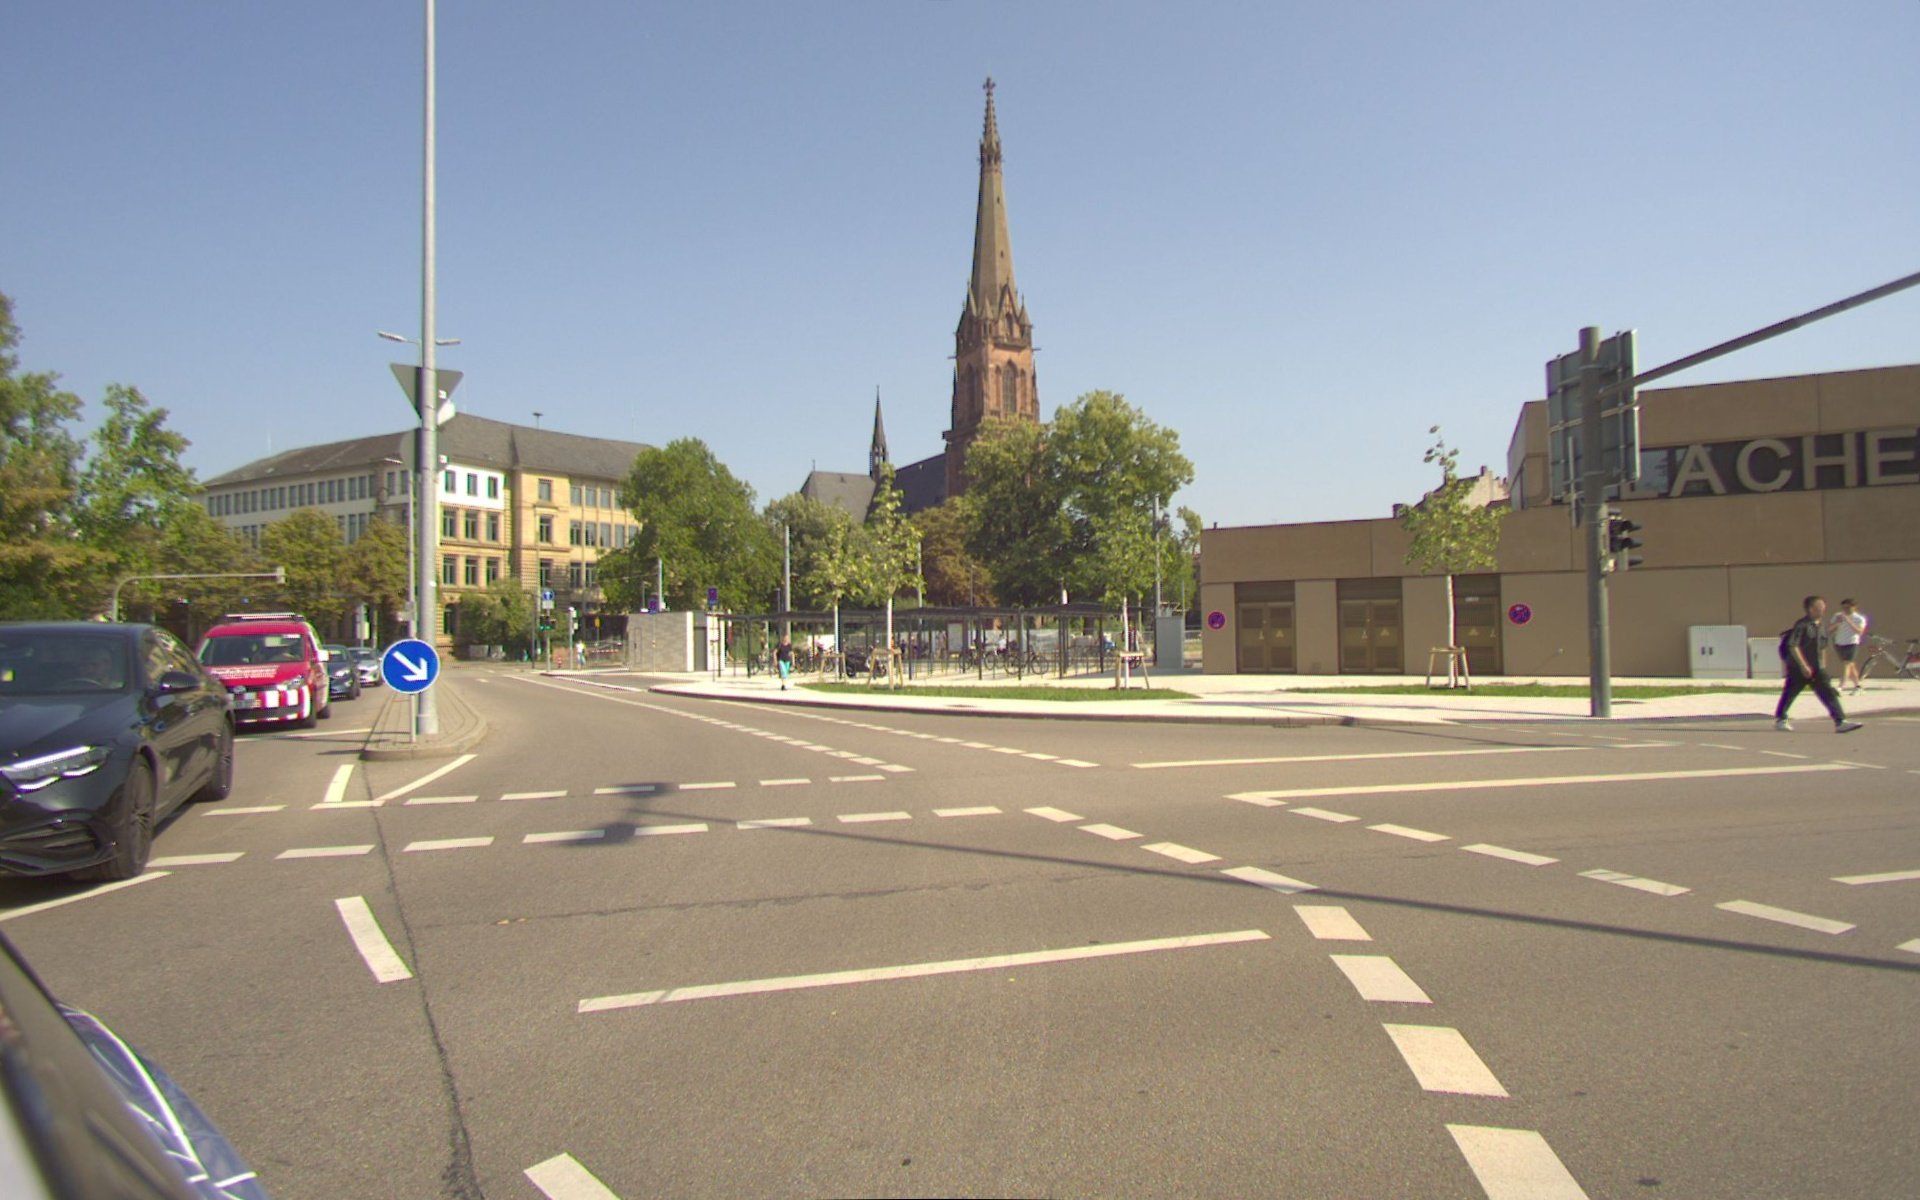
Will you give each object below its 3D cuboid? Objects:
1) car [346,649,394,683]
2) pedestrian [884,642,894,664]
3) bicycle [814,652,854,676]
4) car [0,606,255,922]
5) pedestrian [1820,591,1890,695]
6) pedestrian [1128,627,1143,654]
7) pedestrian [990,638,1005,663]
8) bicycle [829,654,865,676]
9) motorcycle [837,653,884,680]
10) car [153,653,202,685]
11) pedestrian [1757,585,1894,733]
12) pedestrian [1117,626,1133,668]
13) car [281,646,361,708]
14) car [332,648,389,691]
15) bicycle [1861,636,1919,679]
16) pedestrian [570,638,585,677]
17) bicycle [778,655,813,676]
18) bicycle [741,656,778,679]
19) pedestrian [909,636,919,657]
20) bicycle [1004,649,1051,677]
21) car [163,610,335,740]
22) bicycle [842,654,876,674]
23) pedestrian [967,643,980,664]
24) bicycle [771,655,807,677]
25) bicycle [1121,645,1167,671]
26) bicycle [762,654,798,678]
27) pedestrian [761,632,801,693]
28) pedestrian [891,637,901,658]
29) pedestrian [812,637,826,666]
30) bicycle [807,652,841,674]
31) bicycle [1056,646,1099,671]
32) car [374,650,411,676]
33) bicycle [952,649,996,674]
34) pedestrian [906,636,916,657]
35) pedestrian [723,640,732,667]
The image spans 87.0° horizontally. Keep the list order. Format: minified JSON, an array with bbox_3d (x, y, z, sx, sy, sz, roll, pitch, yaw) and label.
[{"bbox_3d":[-25.591,2.839,43.993,1.580,1.339,4.346,0,-2,-27],"label":"car"},{"bbox_3d":[-4.273,3.202,61.142,0.414,1.328,0.389,-4,-2,32],"label":"pedestrian"},{"bbox_3d":[-5.376,2.724,43.043,1.705,0.994,0.528,-2,-3,28],"label":"bicycle"},{"bbox_3d":[-6.072,0.839,6.555,1.794,1.451,4.889,0,-2,-27],"label":"car"},{"bbox_3d":[16.259,0.782,18.398,0.562,1.847,0.694,-1,-2,1],"label":"pedestrian"},{"bbox_3d":[9.386,2.172,54.079,0.566,1.432,0.465,-4,-2,29],"label":"pedestrian"},{"bbox_3d":[2.132,2.837,57.093,0.640,1.405,0.656,-2,-3,25],"label":"pedestrian"},{"bbox_3d":[-4.905,2.818,43.834,1.581,0.899,0.406,-2,-3,28],"label":"bicycle"},{"bbox_3d":[-3.760,2.504,38.091,1.737,1.017,0.538,-2,-3,28],"label":"motorcycle"},{"bbox_3d":[-58.081,5.151,75.079,4.242,2.148,1.974,-4,-2,39],"label":"car"},{"bbox_3d":[11.372,0.760,13.337,0.718,1.854,1.085,-1,-2,-11],"label":"pedestrian"},{"bbox_3d":[7.074,2.019,43.482,0.589,1.815,0.331,-2,-3,23],"label":"pedestrian"},{"bbox_3d":[-16.522,1.940,26.310,1.613,1.438,4.334,0,-3,-31],"label":"car"},{"bbox_3d":[-21.899,2.493,37.055,1.691,1.444,3.872,0,-3,-29],"label":"car"},{"bbox_3d":[22.111,1.337,23.499,1.604,0.963,0.655,-2,-1,26],"label":"bicycle"},{"bbox_3d":[-19.950,2.988,52.774,0.721,2.029,0.716,0,-3,-20],"label":"pedestrian"},{"bbox_3d":[-7.143,2.861,43.917,1.581,0.899,0.406,-2,-3,28],"label":"bicycle"},{"bbox_3d":[-8.284,2.786,41.826,1.581,0.899,0.397,-2,-3,28],"label":"bicycle"},{"bbox_3d":[-2.803,2.822,61.393,0.381,1.233,0.435,-4,-2,29],"label":"pedestrian"},{"bbox_3d":[2.509,2.362,37.741,1.737,1.017,0.397,-2,-3,28],"label":"bicycle"},{"bbox_3d":[-11.477,1.182,16.621,1.708,1.833,4.291,0,-3,-27],"label":"car"},{"bbox_3d":[-4.514,2.864,45.153,1.581,0.899,0.406,-2,-3,28],"label":"bicycle"},{"bbox_3d":[0.794,3.058,57.988,0.571,1.206,0.463,-2,-3,29],"label":"pedestrian"},{"bbox_3d":[-7.346,2.843,43.445,1.581,0.899,0.397,-2,-3,28],"label":"bicycle"},{"bbox_3d":[7.360,2.338,40.598,1.735,1.028,0.470,-2,-3,27],"label":"bicycle"},{"bbox_3d":[-7.616,2.791,42.875,1.581,0.975,0.418,-2,-3,28],"label":"bicycle"},{"bbox_3d":[-4.679,1.633,26.458,0.667,1.577,0.743,-3,-5,44],"label":"pedestrian"},{"bbox_3d":[-3.906,2.896,61.663,0.381,1.233,0.435,-4,-2,29],"label":"pedestrian"},{"bbox_3d":[-8.732,3.192,62.706,0.705,1.762,0.390,1,-3,-30],"label":"pedestrian"},{"bbox_3d":[-6.197,2.878,46.082,1.581,0.985,0.448,-2,-1,28],"label":"bicycle"},{"bbox_3d":[4.910,2.456,42.217,1.737,1.017,0.397,-2,-3,28],"label":"bicycle"},{"bbox_3d":[-35.529,3.919,63.427,1.965,1.564,4.012,0,-2,-28],"label":"car"},{"bbox_3d":[0.592,2.595,42.727,1.866,1.017,0.457,-2,-3,28],"label":"bicycle"},{"bbox_3d":[-3.031,2.857,62.100,0.381,1.233,0.435,-4,-2,29],"label":"pedestrian"},{"bbox_3d":[-14.954,3.457,65.130,0.511,1.720,0.504,0,-2,-4],"label":"pedestrian"}]
